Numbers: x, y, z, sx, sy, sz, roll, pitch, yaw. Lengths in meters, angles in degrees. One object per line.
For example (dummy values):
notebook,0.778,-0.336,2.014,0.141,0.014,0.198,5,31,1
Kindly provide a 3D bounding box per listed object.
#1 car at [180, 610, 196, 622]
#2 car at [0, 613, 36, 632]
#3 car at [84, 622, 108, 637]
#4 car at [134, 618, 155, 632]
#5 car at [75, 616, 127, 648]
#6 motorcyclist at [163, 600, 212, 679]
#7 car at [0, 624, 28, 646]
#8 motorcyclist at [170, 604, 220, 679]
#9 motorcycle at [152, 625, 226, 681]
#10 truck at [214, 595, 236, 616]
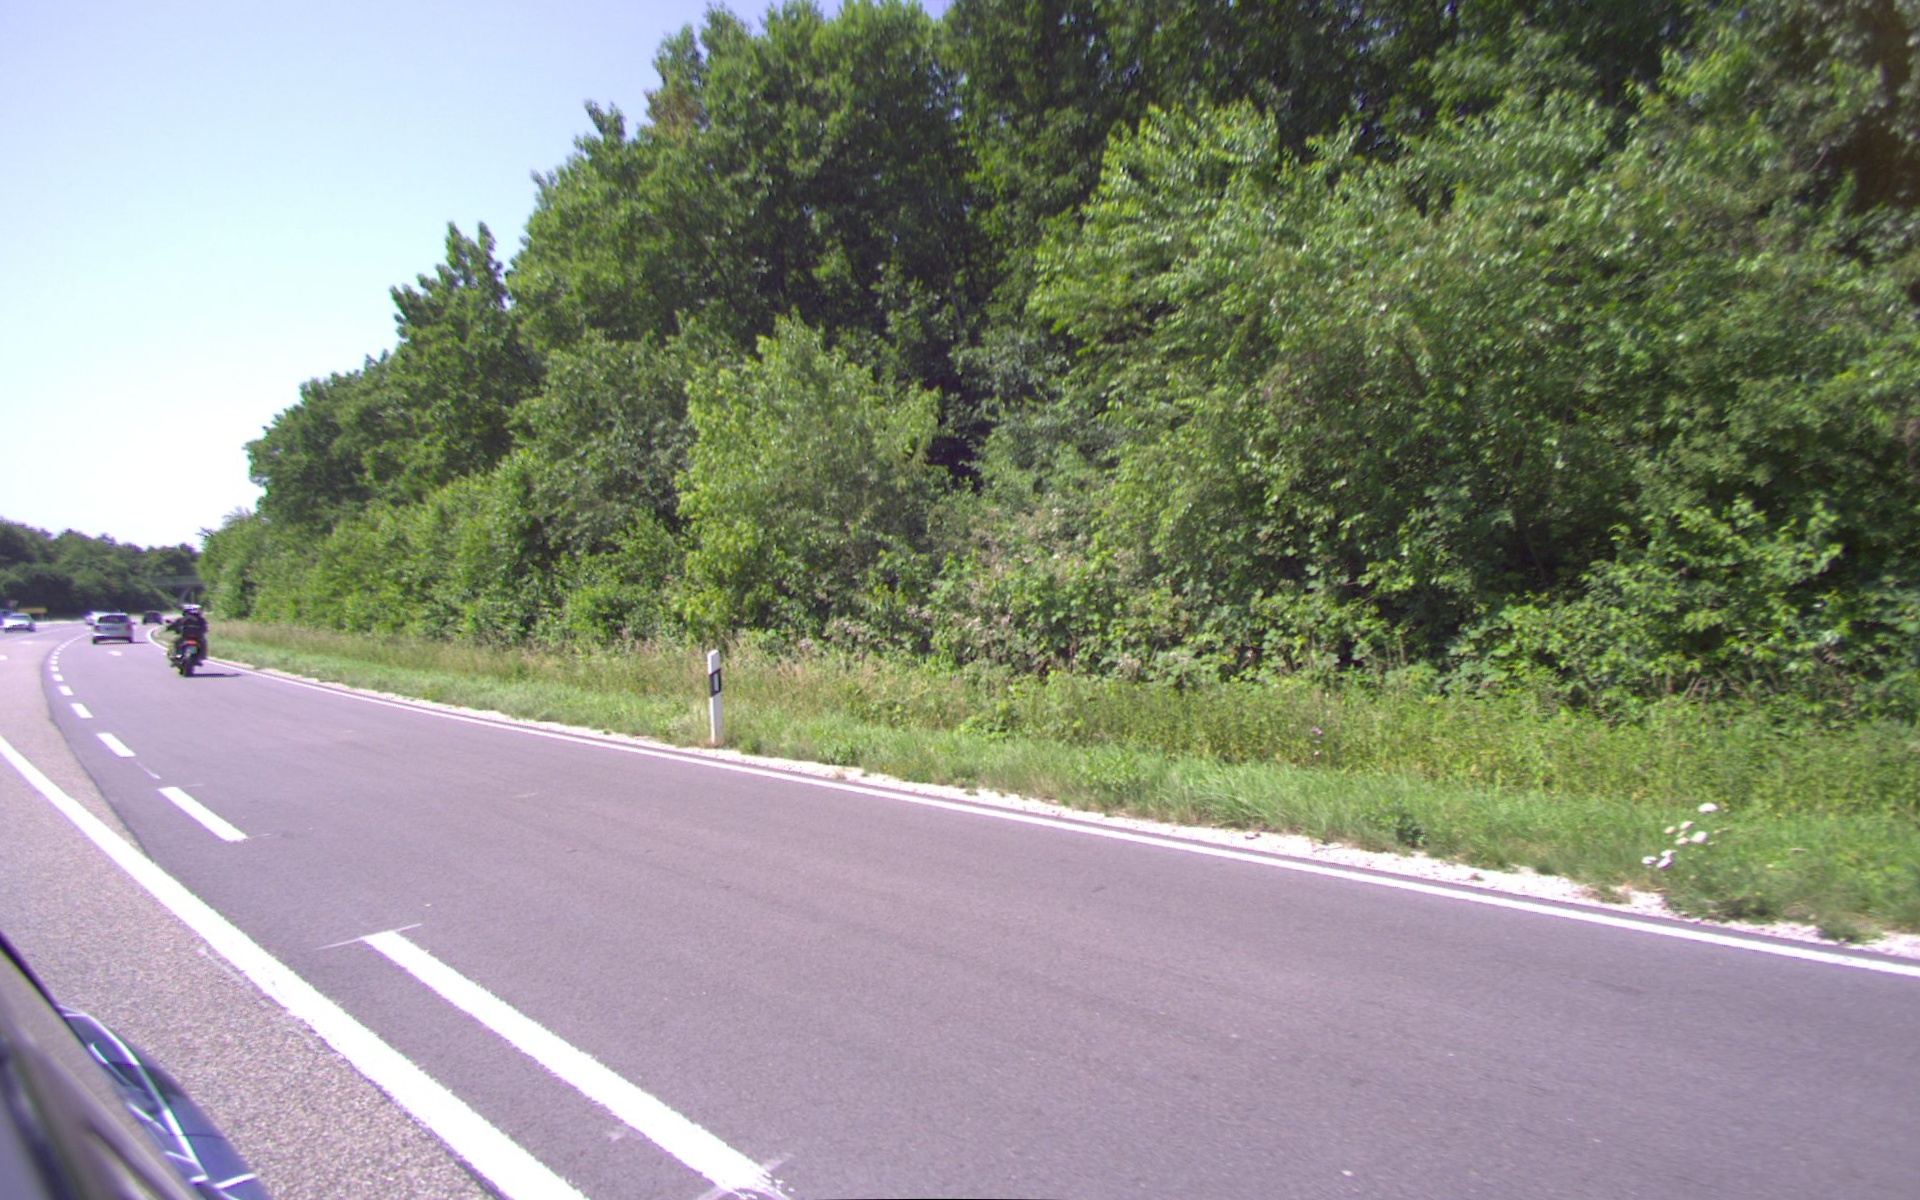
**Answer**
car,-111.952,2.318,146.793,1.819,1.792,4.903,-1,0,-38
car,-101.889,2.454,107.596,2.010,1.921,5.165,0,2,37
car,-96.668,3.281,113.234,1.686,1.430,4.108,-1,0,-36
car,-89.193,2.720,110.673,1.594,1.513,3.557,-1,0,-41
car,-46.871,1.711,55.214,4.213,1.649,1.782,-1,0,44
motorcyclist,-19.063,0.959,24.979,0.657,1.896,0.812,-1,0,40
car,-81.072,2.989,86.535,4.001,1.821,1.784,-1,-1,44
motorcyclist,-18.529,1.001,24.514,0.623,1.765,0.822,-1,0,40
motorcycle,-18.933,1.269,24.820,2.680,1.260,0.937,-1,-1,41
truck,-131.566,0.991,181.208,2.591,3.698,8.821,-1,0,-33
